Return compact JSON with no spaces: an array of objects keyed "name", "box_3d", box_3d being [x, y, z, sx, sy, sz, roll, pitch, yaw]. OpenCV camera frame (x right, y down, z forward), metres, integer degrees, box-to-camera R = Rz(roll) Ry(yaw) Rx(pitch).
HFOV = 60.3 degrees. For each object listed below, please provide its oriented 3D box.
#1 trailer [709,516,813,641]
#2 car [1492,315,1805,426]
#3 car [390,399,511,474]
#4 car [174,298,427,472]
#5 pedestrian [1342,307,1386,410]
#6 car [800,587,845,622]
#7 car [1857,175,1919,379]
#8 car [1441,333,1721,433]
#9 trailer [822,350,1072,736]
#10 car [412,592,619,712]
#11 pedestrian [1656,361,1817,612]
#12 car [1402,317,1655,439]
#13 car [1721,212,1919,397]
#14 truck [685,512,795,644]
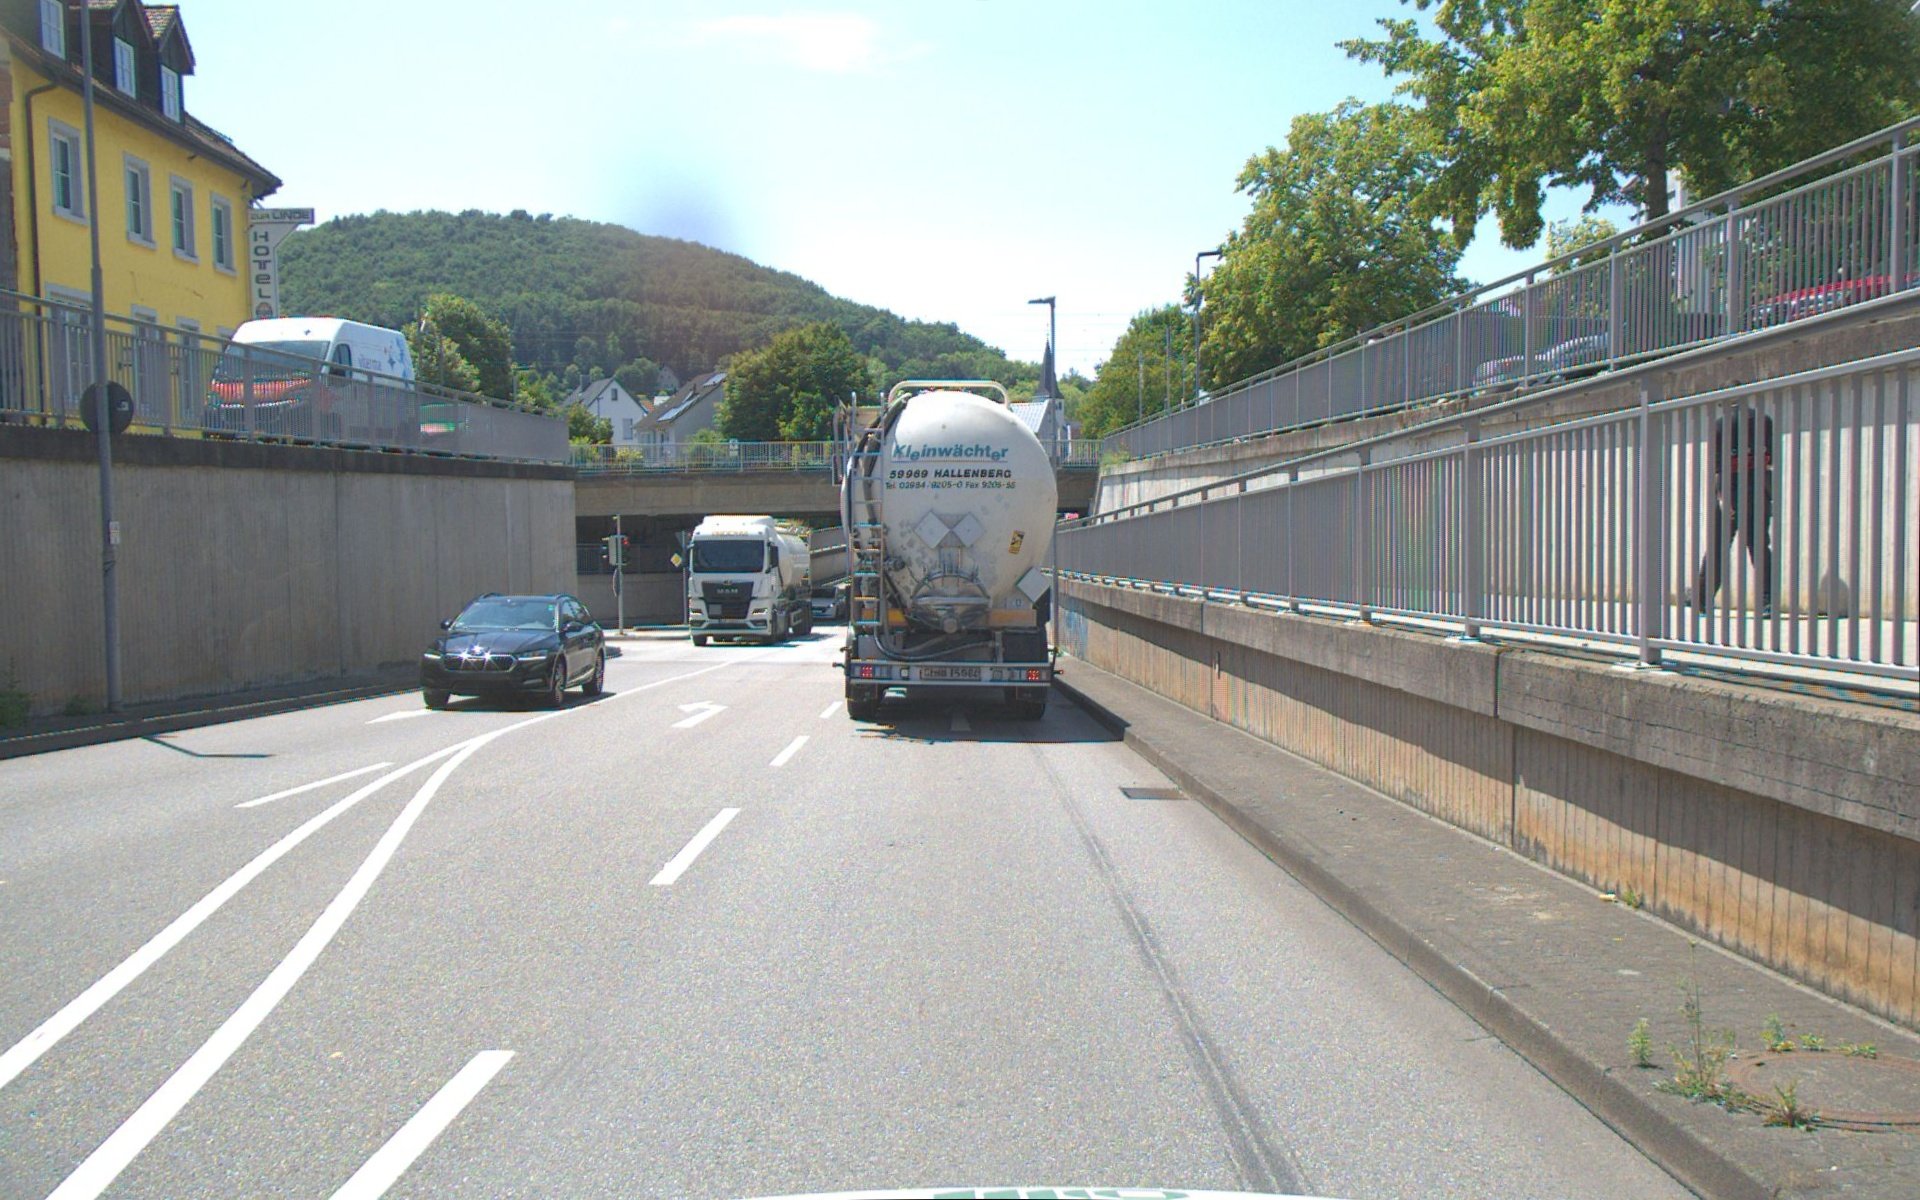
[{"name":"trailer","box_3d":[-6.869,-0.697,58.309,2.556,4.033,9.345,0,0,0]},{"name":"car","box_3d":[9.841,-3.282,23.846,3.825,1.391,1.687,-1,3,0]},{"name":"car","box_3d":[-11.585,-3.694,37.875,1.586,1.526,4.045,1,3,-1]},{"name":"car","box_3d":[-11.278,-3.600,28.838,2.022,2.580,5.664,1,3,1]},{"name":"pedestrian","box_3d":[7.407,-4.420,30.327,0.659,1.810,0.594,-1,3,1]},{"name":"car","box_3d":[-6.220,0.197,75.179,1.648,1.466,4.094,2,1,0]},{"name":"car","box_3d":[10.089,-2.776,13.958,4.118,1.623,1.687,-1,3,0]},{"name":"car","box_3d":[9.803,-3.427,26.285,3.825,1.391,1.687,-1,3,0]},{"name":"trailer","box_3d":[-0.167,-0.623,24.421,2.679,4.135,13.311,0,0,0]},{"name":"car","box_3d":[-6.061,0.649,23.078,1.724,1.515,4.368,0,0,0]},{"name":"pedestrian","box_3d":[5.807,-0.833,12.412,0.819,1.813,0.788,-1,1,-1]},{"name":"car","box_3d":[9.805,-3.830,28.717,3.825,1.917,1.687,-1,3,0]},{"name":"car","box_3d":[10.060,-2.937,16.561,4.118,1.623,1.687,-1,3,0]},{"name":"truck","box_3d":[-6.868,-0.651,52.427,2.607,3.928,6.579,0,0,0]}]
